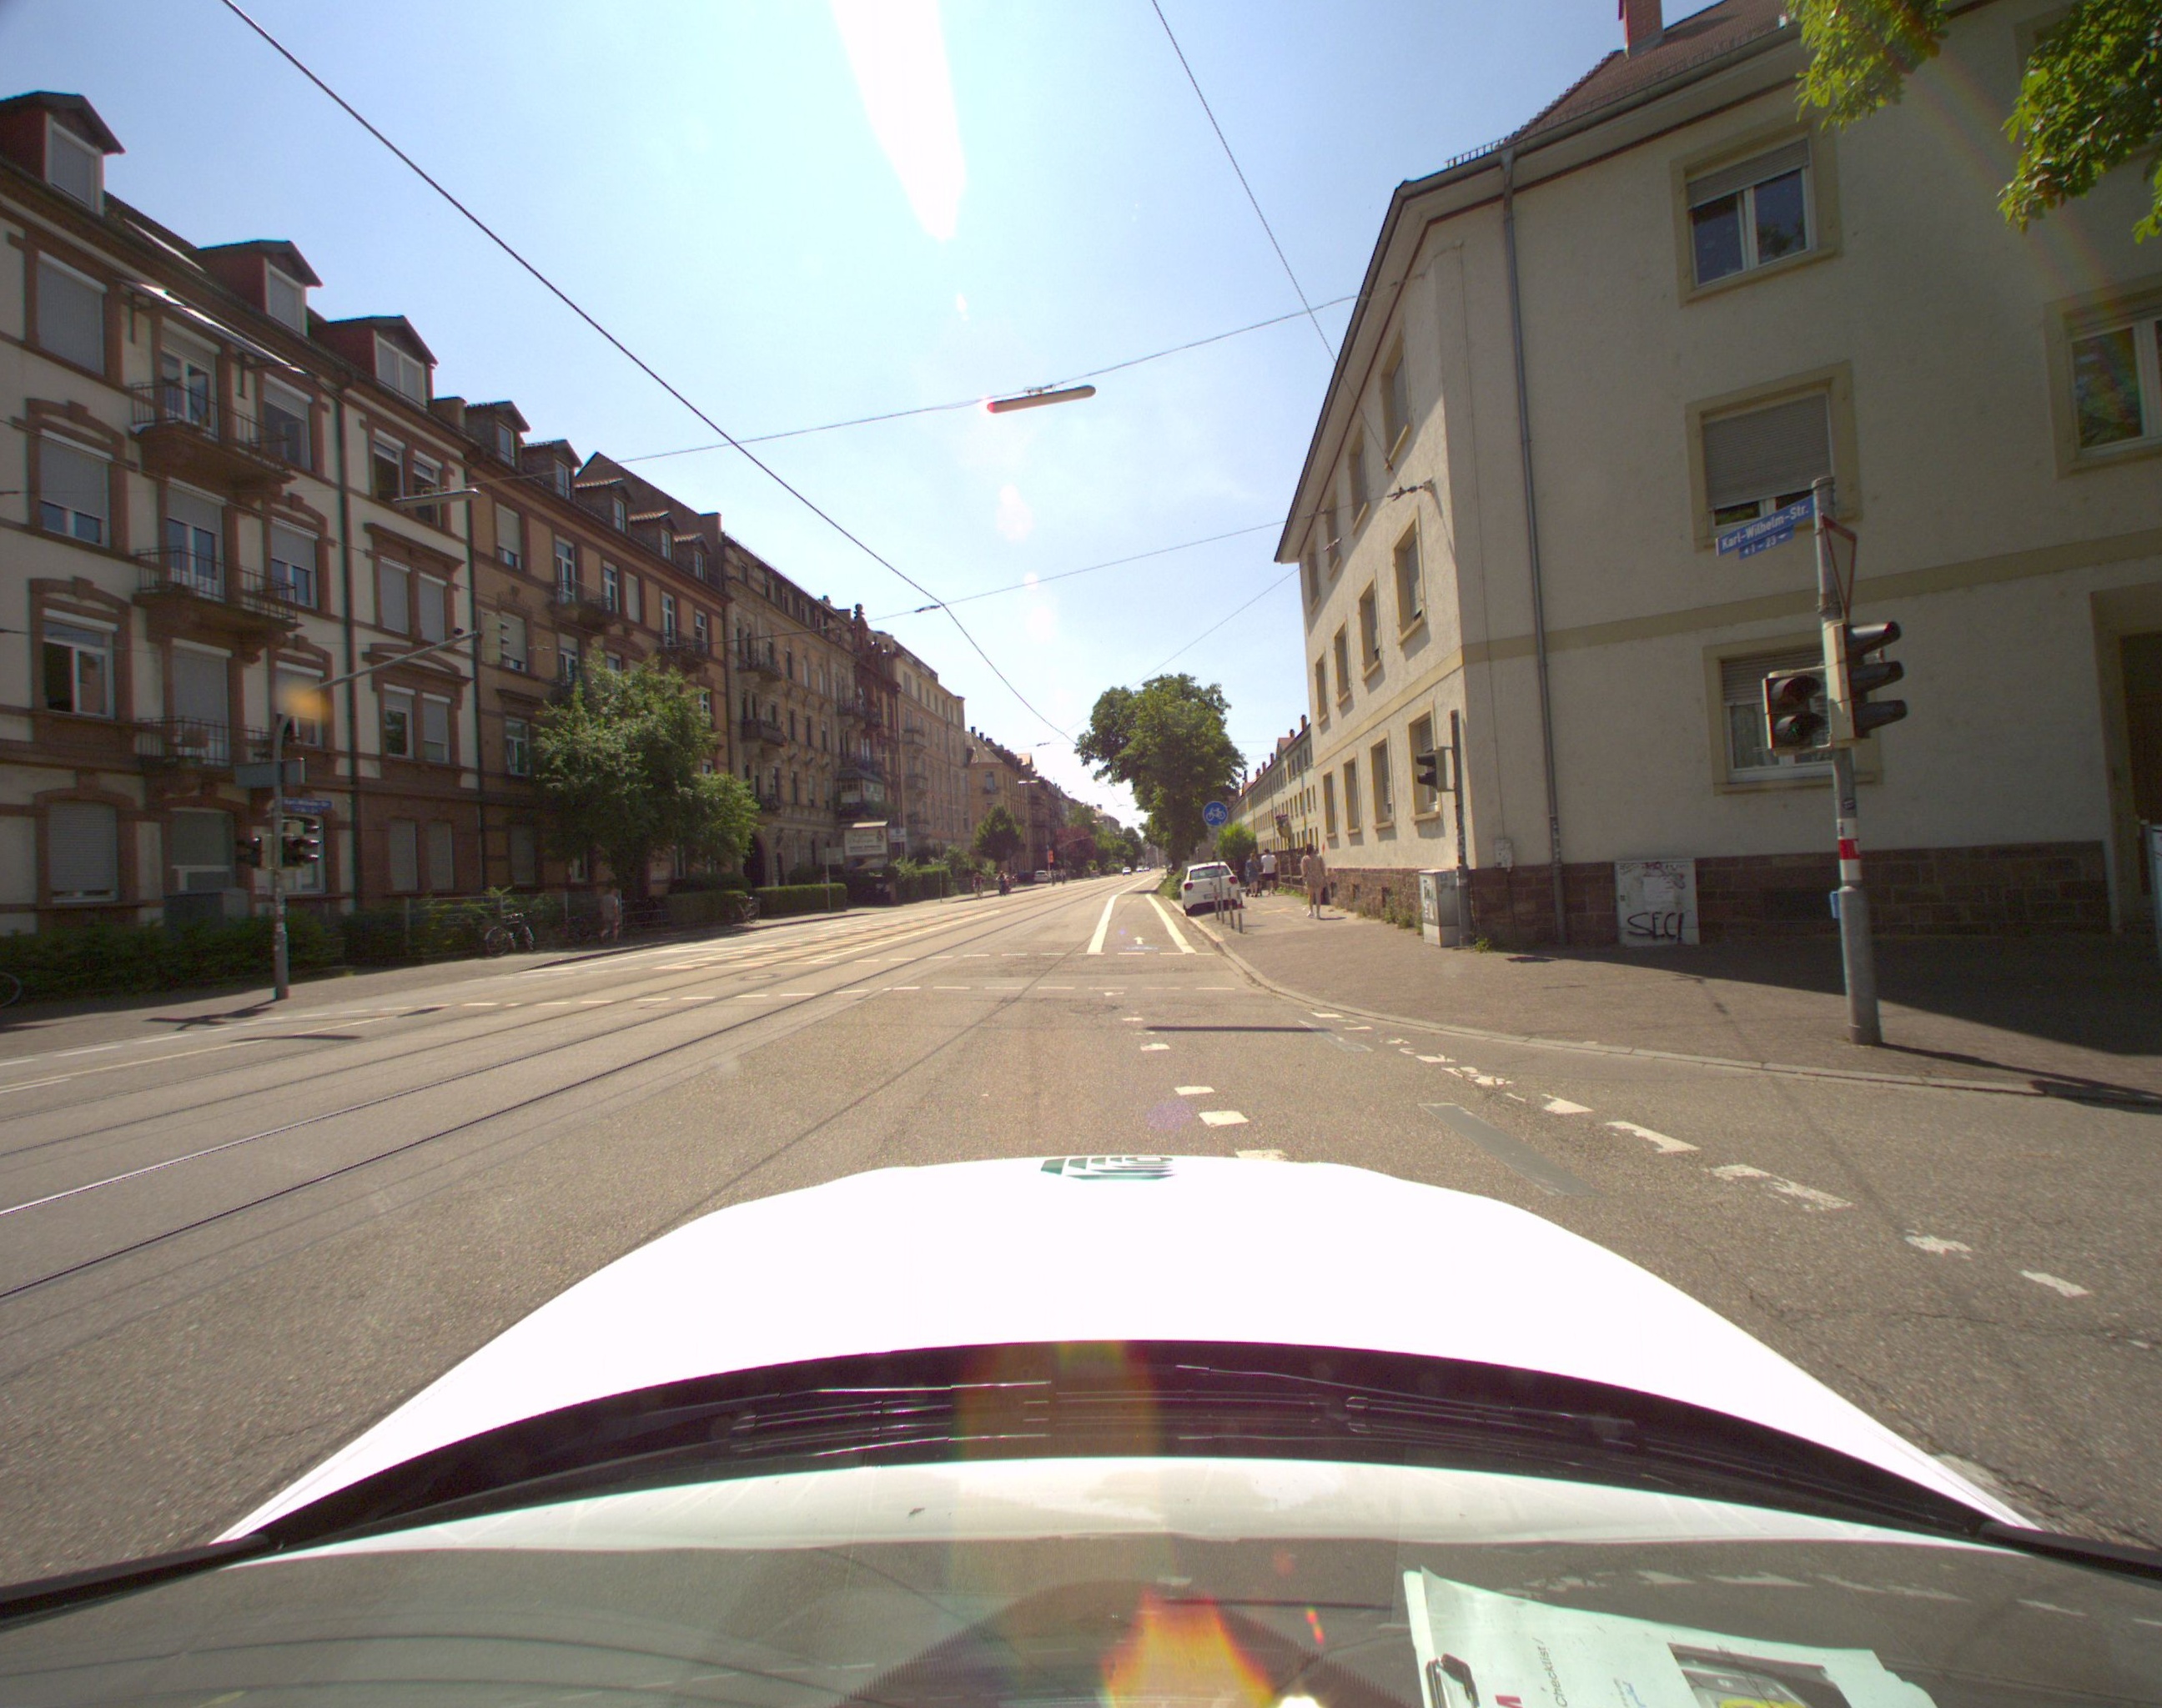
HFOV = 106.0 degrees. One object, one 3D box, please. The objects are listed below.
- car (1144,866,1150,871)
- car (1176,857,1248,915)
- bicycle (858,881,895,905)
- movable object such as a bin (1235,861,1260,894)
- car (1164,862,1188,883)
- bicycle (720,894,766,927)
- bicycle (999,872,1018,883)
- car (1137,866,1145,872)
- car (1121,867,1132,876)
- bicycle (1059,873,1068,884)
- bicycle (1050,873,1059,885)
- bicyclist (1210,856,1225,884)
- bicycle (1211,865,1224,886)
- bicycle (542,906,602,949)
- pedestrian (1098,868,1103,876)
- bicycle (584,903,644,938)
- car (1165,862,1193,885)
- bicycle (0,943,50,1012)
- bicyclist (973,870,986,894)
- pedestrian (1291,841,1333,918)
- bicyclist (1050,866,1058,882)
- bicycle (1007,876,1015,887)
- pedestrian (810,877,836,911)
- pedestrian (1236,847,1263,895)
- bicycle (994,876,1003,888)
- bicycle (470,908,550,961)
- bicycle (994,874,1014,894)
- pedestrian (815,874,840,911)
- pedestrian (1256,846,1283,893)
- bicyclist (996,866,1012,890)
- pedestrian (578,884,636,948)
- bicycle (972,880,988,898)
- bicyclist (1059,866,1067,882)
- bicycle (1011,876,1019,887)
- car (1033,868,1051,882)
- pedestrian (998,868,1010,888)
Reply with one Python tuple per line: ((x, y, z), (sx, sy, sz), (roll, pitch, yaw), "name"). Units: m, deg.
((21.190, 4.683, 259.634), (1.677, 1.454, 3.755), (-4, -1, 6), "car")
((3.957, 0.925, 25.267), (1.769, 1.410, 4.162), (-8, -1, 5), "car")
((-11.366, 2.175, 45.296), (1.862, 1.228, 0.569), (-2, -1, 3), "bicycle")
((6.284, 0.876, 30.752), (0.694, 1.186, 1.038), (-7, -1, 5), "movable object such as a bin")
((7.860, 1.478, 67.664), (1.724, 1.552, 4.459), (-4, -1, 5), "car")
((-12.620, 2.080, 30.460), (0.634, 1.093, 1.936), (-2, -1, 10), "bicycle")
((-7.113, 2.306, 80.326), (1.694, 1.037, 0.553), (-4, -1, 10), "bicycle")
((15.547, 3.813, 212.400), (1.747, 1.424, 4.008), (-5, -1, 7), "car")
((8.598, 3.333, 153.315), (1.676, 1.449, 4.007), (-4, -1, 6), "car")
((-1.828, 2.530, 84.207), (0.578, 1.078, 1.894), (-5, -1, 6), "bicycle")
((-2.740, 2.597, 84.236), (0.626, 1.078, 1.878), (-5, -1, 6), "bicycle")
((7.433, 0.847, 44.382), (0.707, 1.452, 1.012), (-4, -1, 8), "bicyclist")
((7.445, 1.153, 44.392), (0.598, 1.051, 1.827), (-4, -1, 9), "bicycle")
((-14.340, 2.060, 22.983), (0.456, 1.056, 1.568), (-4, -1, 10), "bicycle")
((3.793, 3.529, 158.910), (0.748, 1.629, 0.834), (-3, -1, 3), "pedestrian")
((-14.820, 2.114, 25.874), (1.637, 0.996, 0.496), (-4, -1, 7), "bicycle")
((7.055, 1.392, 58.924), (1.649, 1.515, 4.004), (-4, -1, 4), "car")
((-18.830, 2.156, 13.592), (0.461, 1.108, 1.935), (-5, -1, 44), "bicycle")
((-6.505, 1.785, 52.185), (0.559, 1.515, 0.893), (-4, -1, 7), "bicyclist")
((5.208, 0.573, 18.411), (0.694, 1.669, 0.757), (-4, -1, 5), "pedestrian")
((-2.790, 2.056, 84.226), (0.631, 1.584, 1.030), (-5, -1, 6), "bicyclist")
((-6.606, 2.598, 76.843), (0.436, 0.983, 1.713), (-4, -1, 5), "bicycle")
((-13.734, 2.129, 43.348), (0.899, 1.700, 0.829), (-4, -1, 33), "pedestrian")
((6.159, 0.631, 29.801), (0.694, 1.669, 0.870), (-7, -1, 5), "pedestrian")
((-7.290, 2.480, 71.734), (0.494, 0.987, 1.713), (0, -1, 5), "bicycle")
((-14.570, 2.024, 20.836), (0.569, 1.169, 1.720), (-4, -1, 10), "bicycle")
((-5.370, 2.060, 56.937), (0.803, 1.271, 2.555), (-4, -1, 7), "bicycle")
((-13.130, 2.014, 42.177), (0.821, 1.857, 0.868), (-3, -1, -42), "pedestrian")
((6.944, 0.572, 30.075), (0.694, 1.669, 0.757), (-7, -1, 5), "pedestrian")
((-5.406, 1.675, 56.911), (0.803, 1.630, 0.982), (-4, -1, 7), "bicyclist")
((-13.338, 1.733, 22.924), (0.866, 1.700, 1.017), (-4, -1, 12), "pedestrian")
((-6.475, 2.230, 52.226), (0.564, 1.038, 1.832), (-4, -1, 7), "bicycle")
((-1.863, 2.088, 84.232), (0.589, 1.544, 0.954), (-5, -1, 6), "bicyclist")
((-6.358, 2.639, 78.873), (0.436, 0.983, 1.713), (-4, -1, 5), "bicycle")
((-4.992, 2.707, 104.964), (1.859, 1.600, 4.103), (-2, -1, 1), "car")
((-6.921, 2.141, 73.242), (0.847, 1.723, 1.141), (-1, -1, 7), "pedestrian")
